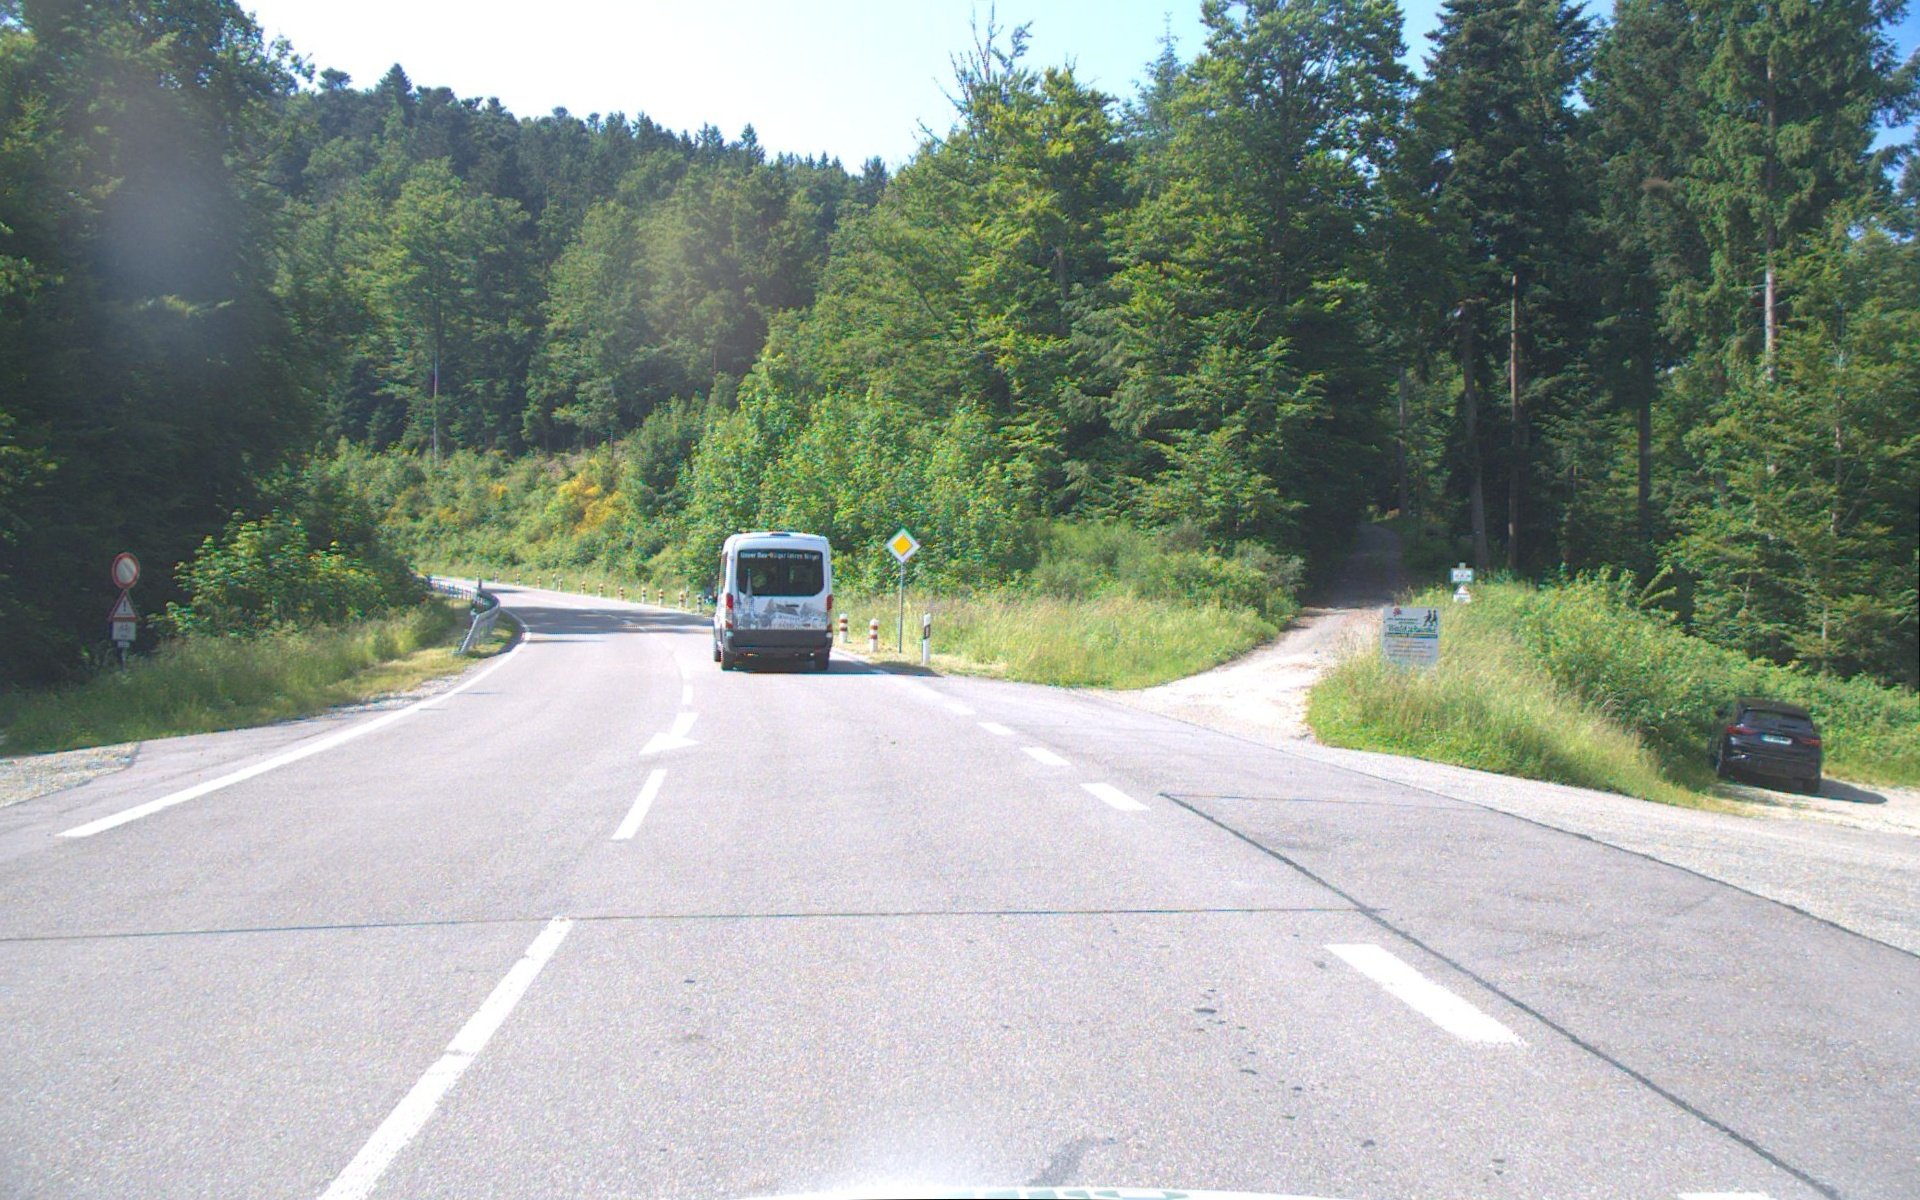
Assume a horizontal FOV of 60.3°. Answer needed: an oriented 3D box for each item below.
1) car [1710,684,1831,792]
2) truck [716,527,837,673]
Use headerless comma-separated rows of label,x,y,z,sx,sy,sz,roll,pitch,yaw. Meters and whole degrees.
car,16.148,2.677,32.900,1.897,1.620,3.995,7,2,27
truck,-3.613,-0.025,31.756,2.076,2.542,5.348,0,1,-9
